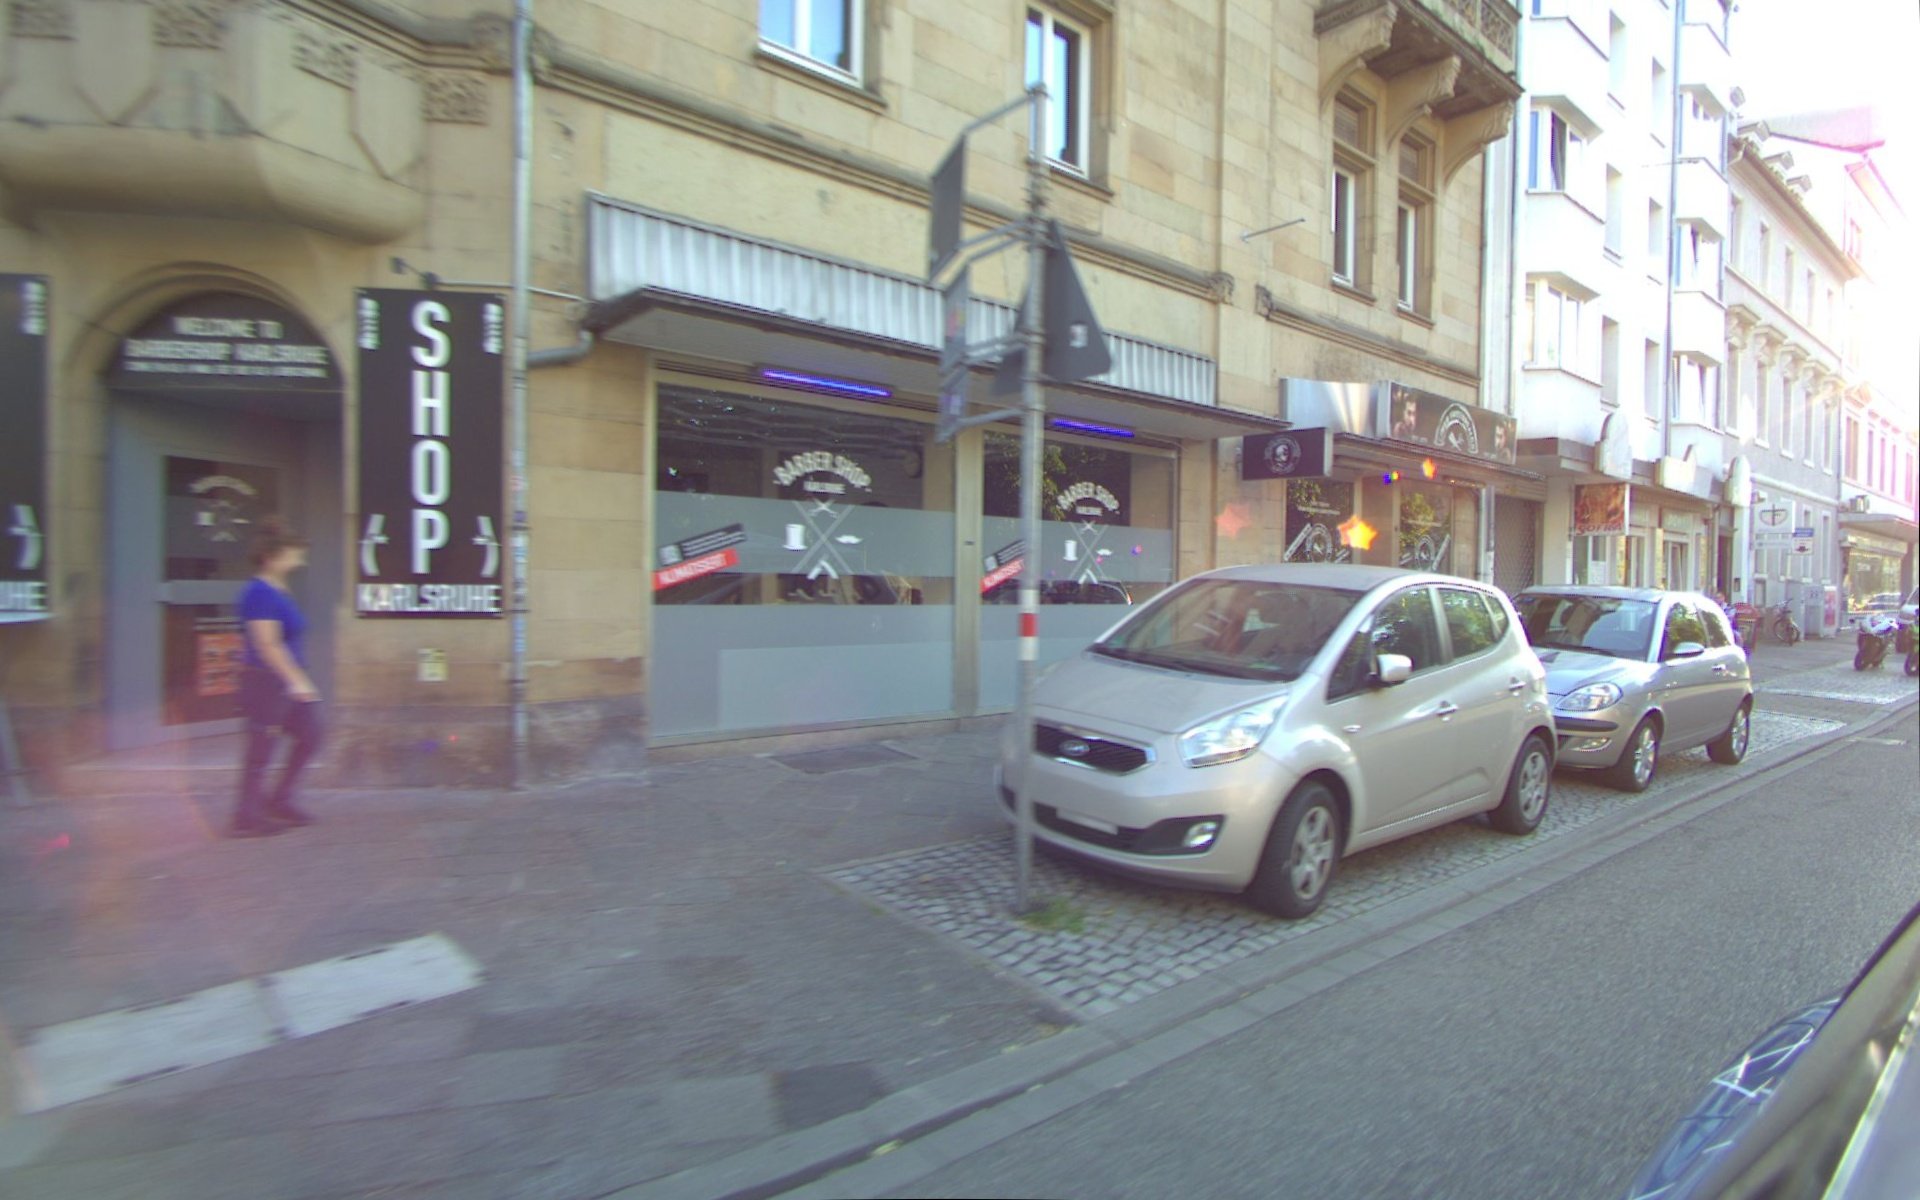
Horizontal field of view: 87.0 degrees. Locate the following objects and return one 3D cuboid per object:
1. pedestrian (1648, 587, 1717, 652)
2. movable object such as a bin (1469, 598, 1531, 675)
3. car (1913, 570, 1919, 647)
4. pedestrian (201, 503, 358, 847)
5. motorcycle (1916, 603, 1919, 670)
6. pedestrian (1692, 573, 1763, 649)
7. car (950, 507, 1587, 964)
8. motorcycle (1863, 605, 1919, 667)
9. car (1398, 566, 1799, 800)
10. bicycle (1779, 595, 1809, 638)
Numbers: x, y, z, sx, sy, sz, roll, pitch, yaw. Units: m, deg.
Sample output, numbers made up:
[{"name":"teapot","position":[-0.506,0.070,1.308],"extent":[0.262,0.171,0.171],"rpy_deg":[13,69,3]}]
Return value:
[{"name":"pedestrian","position":[14.533,0.380,20.370],"extent":[0.774,1.234,0.745],"rpy_deg":[2,2,-10]},{"name":"movable object such as a bin","position":[7.926,0.515,14.860],"extent":[0.652,1.098,0.597],"rpy_deg":[0,0,-39]},{"name":"car","position":[25.265,0.201,25.187],"extent":[4.228,1.858,1.714],"rpy_deg":[0,0,-39]},{"name":"pedestrian","position":[-3.522,0.365,5.273],"extent":[0.415,1.687,0.587],"rpy_deg":[0,0,1]},{"name":"motorcycle","position":[18.504,0.674,18.987],"extent":[2.171,1.215,0.589],"rpy_deg":[0,0,-41]},{"name":"pedestrian","position":[15.599,0.212,20.575],"extent":[0.975,1.505,0.957],"rpy_deg":[0,0,-40]},{"name":"car","position":[1.992,0.501,5.892],"extent":[3.930,1.791,1.699],"rpy_deg":[0,1,-41]},{"name":"motorcycle","position":[18.417,0.677,19.986],"extent":[2.171,1.137,0.589],"rpy_deg":[0,1,-41]},{"name":"car","position":[5.695,0.554,8.864],"extent":[3.926,1.580,1.685],"rpy_deg":[0,3,-38]},{"name":"bicycle","position":[21.438,0.417,26.027],"extent":[0.453,1.024,1.691],"rpy_deg":[0,2,35]}]
